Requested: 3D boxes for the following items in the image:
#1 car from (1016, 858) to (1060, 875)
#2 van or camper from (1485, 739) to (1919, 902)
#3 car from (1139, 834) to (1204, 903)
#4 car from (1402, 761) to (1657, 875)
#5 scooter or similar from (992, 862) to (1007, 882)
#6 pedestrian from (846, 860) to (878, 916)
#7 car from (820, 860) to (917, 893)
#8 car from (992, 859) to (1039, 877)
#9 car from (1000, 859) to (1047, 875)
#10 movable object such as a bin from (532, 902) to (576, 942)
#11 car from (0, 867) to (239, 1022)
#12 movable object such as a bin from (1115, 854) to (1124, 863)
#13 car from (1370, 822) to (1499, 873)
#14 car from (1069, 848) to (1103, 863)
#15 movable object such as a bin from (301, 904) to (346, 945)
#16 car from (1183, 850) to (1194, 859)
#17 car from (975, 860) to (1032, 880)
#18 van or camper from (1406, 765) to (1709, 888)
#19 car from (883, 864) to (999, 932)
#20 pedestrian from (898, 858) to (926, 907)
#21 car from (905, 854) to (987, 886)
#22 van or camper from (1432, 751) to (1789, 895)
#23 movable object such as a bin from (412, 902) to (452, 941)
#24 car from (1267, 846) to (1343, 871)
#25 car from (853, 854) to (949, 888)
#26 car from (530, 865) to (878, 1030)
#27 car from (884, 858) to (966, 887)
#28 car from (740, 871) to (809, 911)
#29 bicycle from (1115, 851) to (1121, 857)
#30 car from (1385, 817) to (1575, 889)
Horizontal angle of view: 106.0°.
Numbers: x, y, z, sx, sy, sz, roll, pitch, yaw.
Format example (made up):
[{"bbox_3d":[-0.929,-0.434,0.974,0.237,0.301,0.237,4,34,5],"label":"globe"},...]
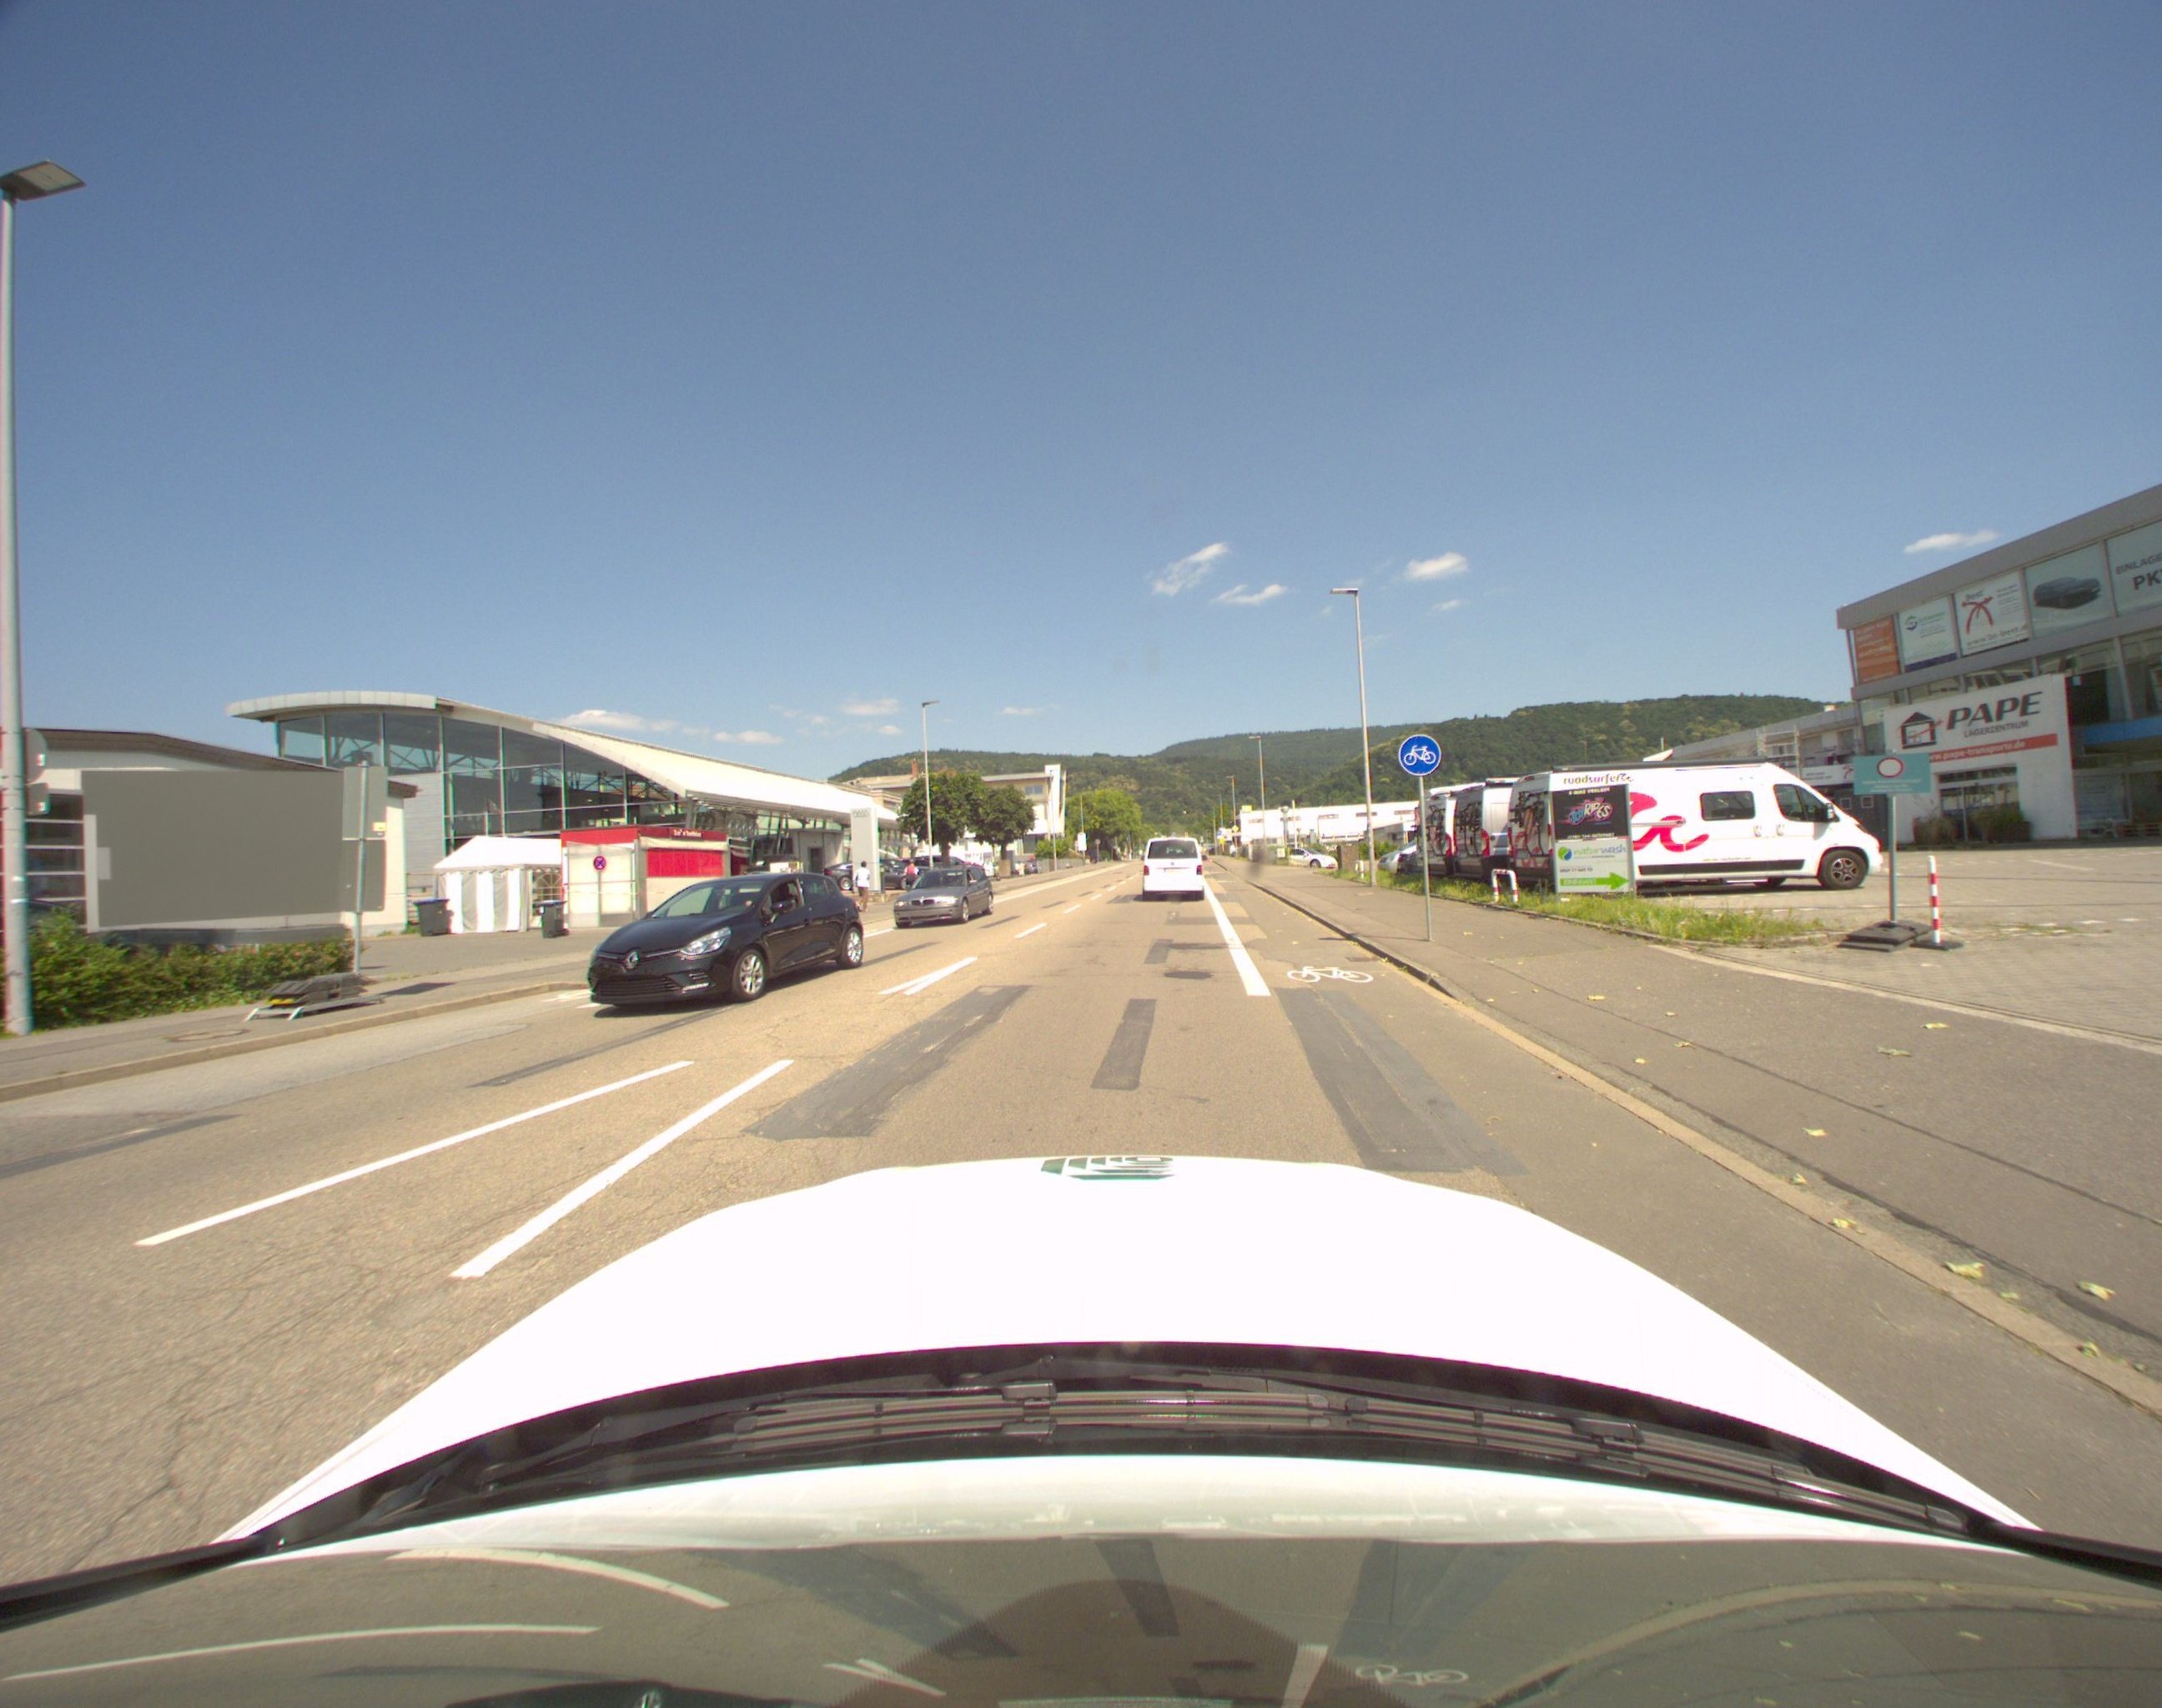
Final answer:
[{"bbox_3d":[-4.420,1.277,84.116,4.278,1.558,1.997,-3,0,3],"label":"car"},{"bbox_3d":[11.652,-0.575,15.863,6.162,2.524,2.624,-3,0,7],"label":"van or camper"},{"bbox_3d":[2.940,0.436,26.599,1.925,2.059,4.552,-1,0,6],"label":"car"},{"bbox_3d":[13.256,-1.006,24.514,6.194,2.869,2.325,-3,-1,7],"label":"car"},{"bbox_3d":[-5.213,1.146,52.267,0.741,1.247,1.490,-3,0,0],"label":"scooter or similar"},{"bbox_3d":[-7.518,1.140,27.957,0.720,1.848,0.912,-3,-1,3],"label":"pedestrian"},{"bbox_3d":[-10.128,1.077,38.829,4.167,1.459,1.892,2,-3,-25],"label":"car"},{"bbox_3d":[-5.765,1.259,71.780,3.874,1.444,1.824,1,-2,3],"label":"car"},{"bbox_3d":[-5.226,1.194,74.156,3.968,1.443,1.861,1,-2,5],"label":"car"},{"bbox_3d":[-13.176,1.698,20.363,0.566,0.922,0.693,-1,0,20],"label":"movable object such as a bin"},{"bbox_3d":[-13.258,1.110,9.728,1.893,1.715,4.011,-3,0,9],"label":"car"},{"bbox_3d":[7.066,0.848,148.687,1.444,1.590,1.306,-4,0,-1],"label":"movable object such as a bin"},{"bbox_3d":[12.857,-0.215,29.809,3.901,1.593,1.802,-3,0,7],"label":"car"},{"bbox_3d":[0.706,0.235,111.678,4.548,1.865,2.094,-2,0,2],"label":"car"},{"bbox_3d":[-20.710,1.908,22.284,0.581,1.048,0.693,-1,0,20],"label":"movable object such as a bin"},{"bbox_3d":[20.730,0.090,157.215,1.984,1.750,4.005,-3,0,5],"label":"car"},{"bbox_3d":[-6.601,1.369,69.482,4.502,1.457,1.903,-3,0,5],"label":"car"},{"bbox_3d":[12.411,-0.659,21.758,6.315,2.700,2.718,-3,0,7],"label":"van or camper"},{"bbox_3d":[-3.467,1.046,21.000,1.733,1.404,4.331,-5,-1,6],"label":"car"},{"bbox_3d":[-6.646,1.096,31.992,0.729,1.867,1.048,-3,0,2],"label":"pedestrian"},{"bbox_3d":[-8.298,0.970,50.198,4.592,1.696,1.842,-2,0,-28],"label":"car"},{"bbox_3d":[11.921,-0.647,18.917,6.315,2.716,2.718,-3,0,7],"label":"van or camper"},{"bbox_3d":[-18.498,1.923,23.210,0.559,1.043,0.693,-1,0,20],"label":"movable object such as a bin"},{"bbox_3d":[16.083,0.372,58.642,2.034,1.622,4.987,4,-4,-40],"label":"car"},{"bbox_3d":[-9.384,0.869,42.456,4.494,1.608,1.948,1,2,-28],"label":"car"},{"bbox_3d":[-4.292,0.967,10.161,1.650,1.454,4.253,-5,-1,11],"label":"car"},{"bbox_3d":[-8.874,1.035,46.394,4.214,1.495,1.857,-1,-1,-28],"label":"car"},{"bbox_3d":[-14.210,1.666,38.040,1.992,1.719,4.719,0,-1,-8],"label":"car"},{"bbox_3d":[6.309,0.026,139.202,1.022,1.118,2.769,-1,0,5],"label":"bicycle"},{"bbox_3d":[13.138,-0.027,27.116,5.206,1.952,2.004,-4,0,6],"label":"car"}]
